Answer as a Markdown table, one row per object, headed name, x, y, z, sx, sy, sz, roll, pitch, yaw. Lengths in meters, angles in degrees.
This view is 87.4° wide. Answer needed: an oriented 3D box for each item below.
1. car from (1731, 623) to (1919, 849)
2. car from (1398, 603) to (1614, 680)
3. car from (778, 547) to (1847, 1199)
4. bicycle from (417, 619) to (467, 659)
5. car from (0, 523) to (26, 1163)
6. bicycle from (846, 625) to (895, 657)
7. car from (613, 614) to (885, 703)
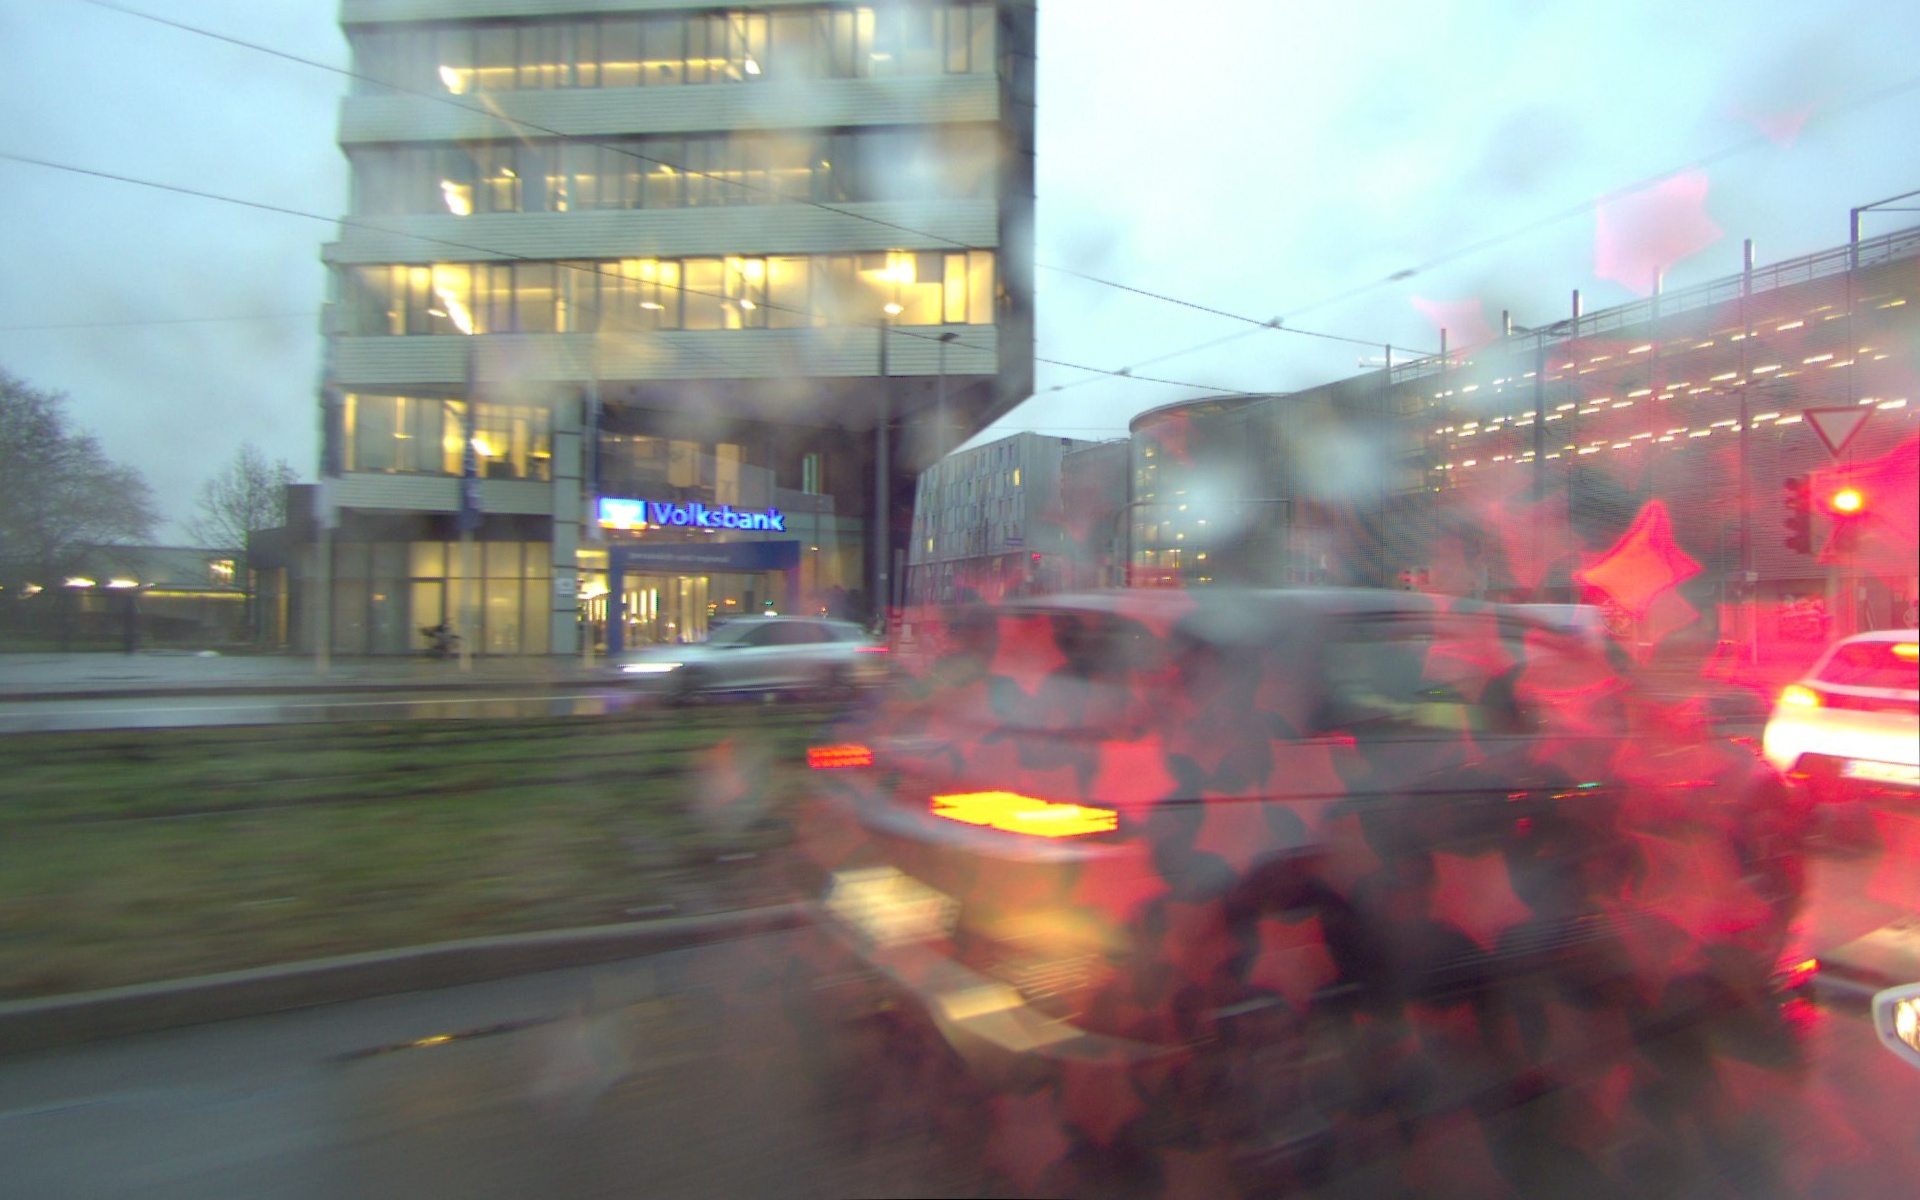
| name | x | y | z | sx | sy | sz | roll | pitch | yaw |
| --- | --- | --- | --- | --- | --- | --- | --- | --- | --- |
| car | 7.886 | 0.948 | 7.858 | 3.875 | 1.483 | 1.748 | 2 | -1 | -33 |
| car | 14.114 | 1.072 | 26.039 | 4.876 | 1.896 | 1.901 | 1 | -2 | -13 |
| car | 1.630 | 0.747 | 4.076 | 4.313 | 1.591 | 1.811 | 1 | -2 | -32 |
| bicycle | -15.421 | 1.153 | 29.949 | 0.518 | 1.142 | 1.499 | 0 | -2 | 9 |
| car | -3.903 | 0.567 | 0.884 | 4.171 | 1.620 | 1.664 | 1 | -1 | -29 |
| bicycle | -3.101 | 1.424 | 34.966 | 1.581 | 1.084 | 0.638 | 0 | -1 | -28 |
| car | -3.649 | 0.998 | 17.747 | 4.428 | 1.404 | 1.631 | 2 | -2 | -33 |
